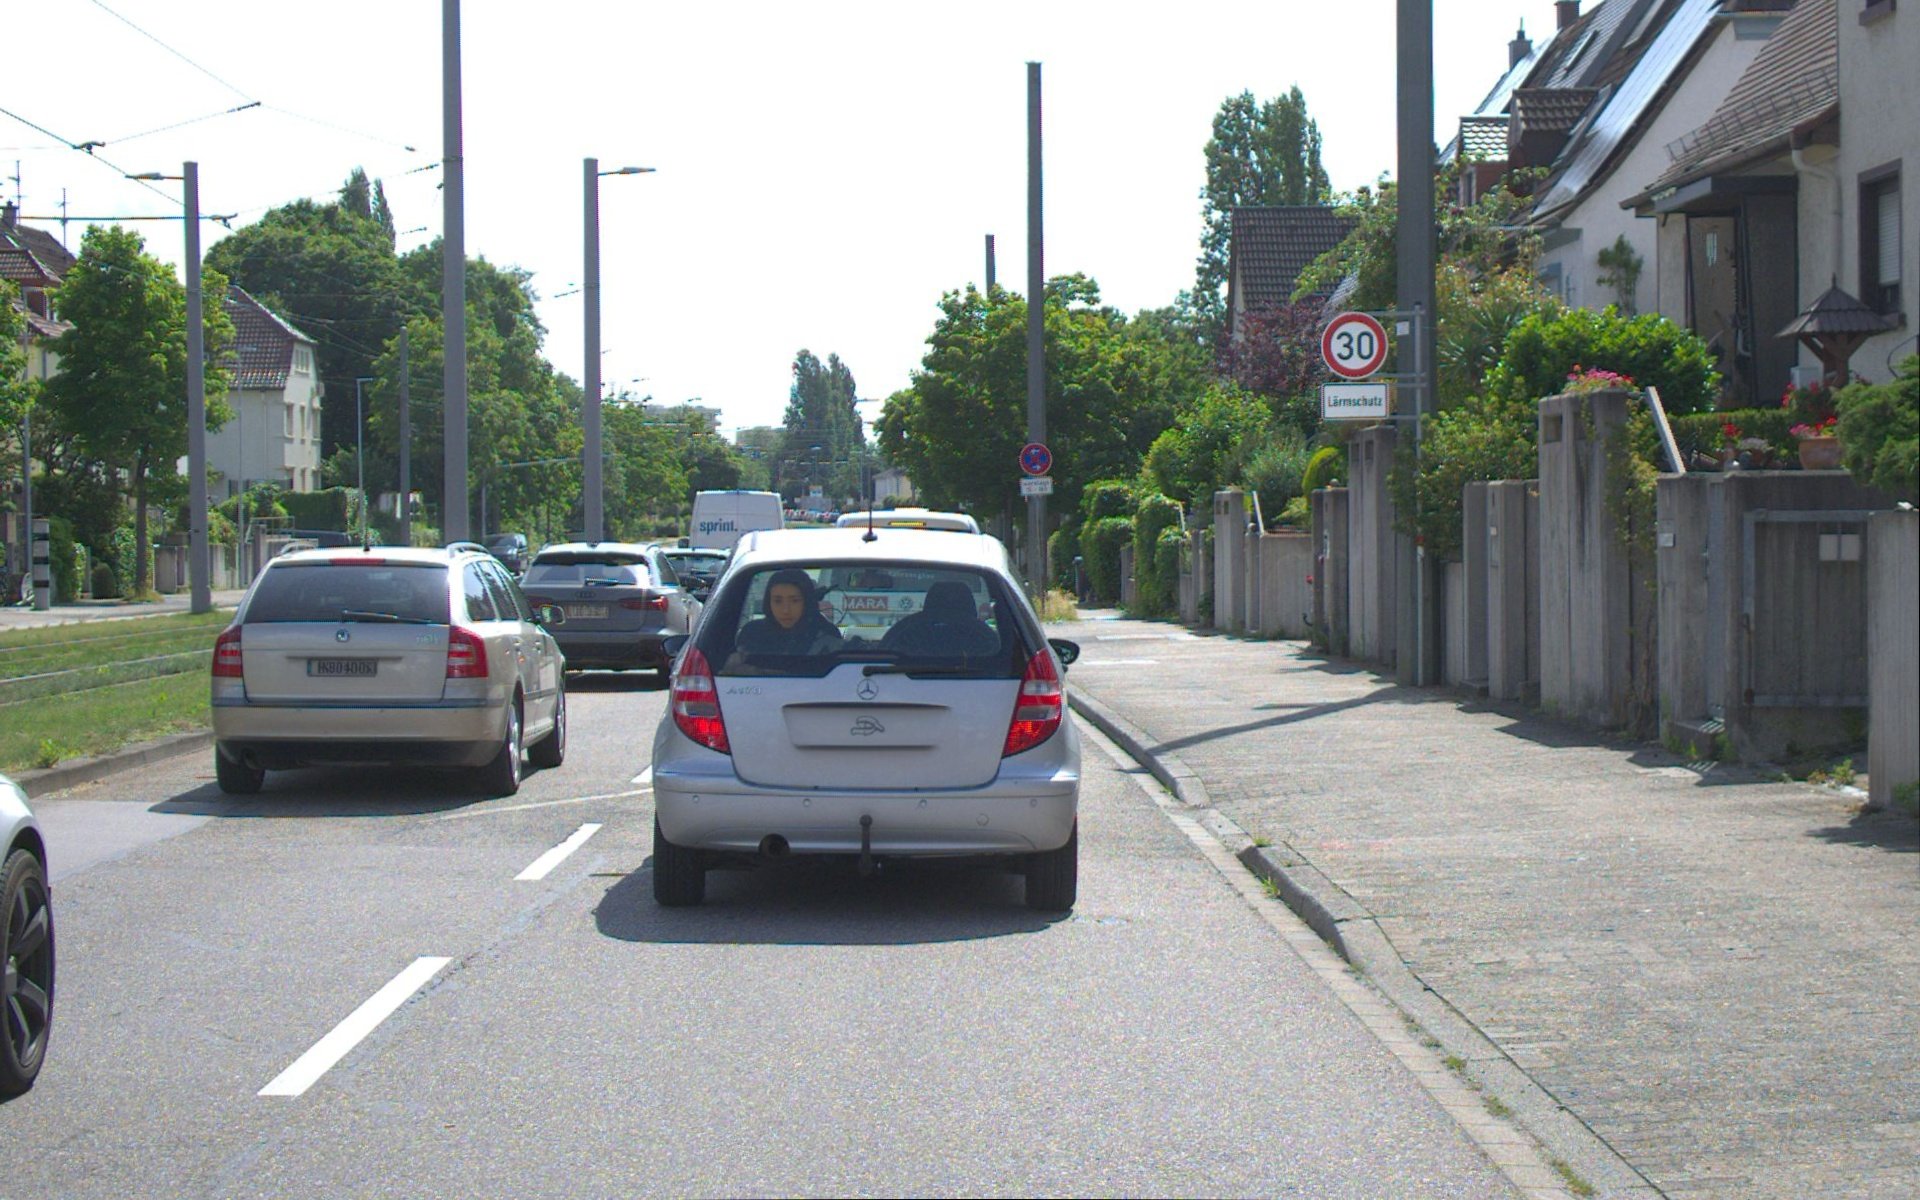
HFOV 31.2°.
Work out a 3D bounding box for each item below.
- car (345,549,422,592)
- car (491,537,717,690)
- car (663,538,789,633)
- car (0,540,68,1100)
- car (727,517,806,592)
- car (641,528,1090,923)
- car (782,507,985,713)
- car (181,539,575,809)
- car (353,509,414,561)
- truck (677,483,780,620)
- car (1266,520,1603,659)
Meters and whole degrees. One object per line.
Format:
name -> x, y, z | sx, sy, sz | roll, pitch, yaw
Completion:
car -> -20.880, -1.089, 124.597 | 1.916, 1.472, 4.562 | 2, 1, 1
car -> -3.698, 0.093, 36.421 | 1.916, 1.472, 4.562 | 1, 1, 0
car -> -3.659, -0.249, 54.333 | 1.852, 1.383, 4.515 | 1, 1, -3
car -> -3.354, 0.590, 7.317 | 1.794, 1.467, 4.722 | 1, 1, -2
car -> -5.625, -1.337, 100.268 | 1.916, 2.070, 4.562 | 2, 1, 1
car -> -0.456, 0.470, 15.545 | 1.730, 1.511, 4.017 | 1, 1, -2
car -> -0.691, 0.060, 32.074 | 1.730, 1.756, 4.017 | 1, 1, -1
car -> -3.443, 0.383, 21.022 | 1.731, 1.444, 4.123 | 1, 1, -1
car -> -26.519, -2.996, 158.278 | 1.916, 2.322, 4.562 | 2, 1, 1
truck -> -4.547, -0.963, 68.153 | 1.852, 2.543, 5.856 | 1, 1, -3
car -> 6.138, -0.147, 44.755 | 3.986, 1.678, 2.000 | -1, 1, -4
